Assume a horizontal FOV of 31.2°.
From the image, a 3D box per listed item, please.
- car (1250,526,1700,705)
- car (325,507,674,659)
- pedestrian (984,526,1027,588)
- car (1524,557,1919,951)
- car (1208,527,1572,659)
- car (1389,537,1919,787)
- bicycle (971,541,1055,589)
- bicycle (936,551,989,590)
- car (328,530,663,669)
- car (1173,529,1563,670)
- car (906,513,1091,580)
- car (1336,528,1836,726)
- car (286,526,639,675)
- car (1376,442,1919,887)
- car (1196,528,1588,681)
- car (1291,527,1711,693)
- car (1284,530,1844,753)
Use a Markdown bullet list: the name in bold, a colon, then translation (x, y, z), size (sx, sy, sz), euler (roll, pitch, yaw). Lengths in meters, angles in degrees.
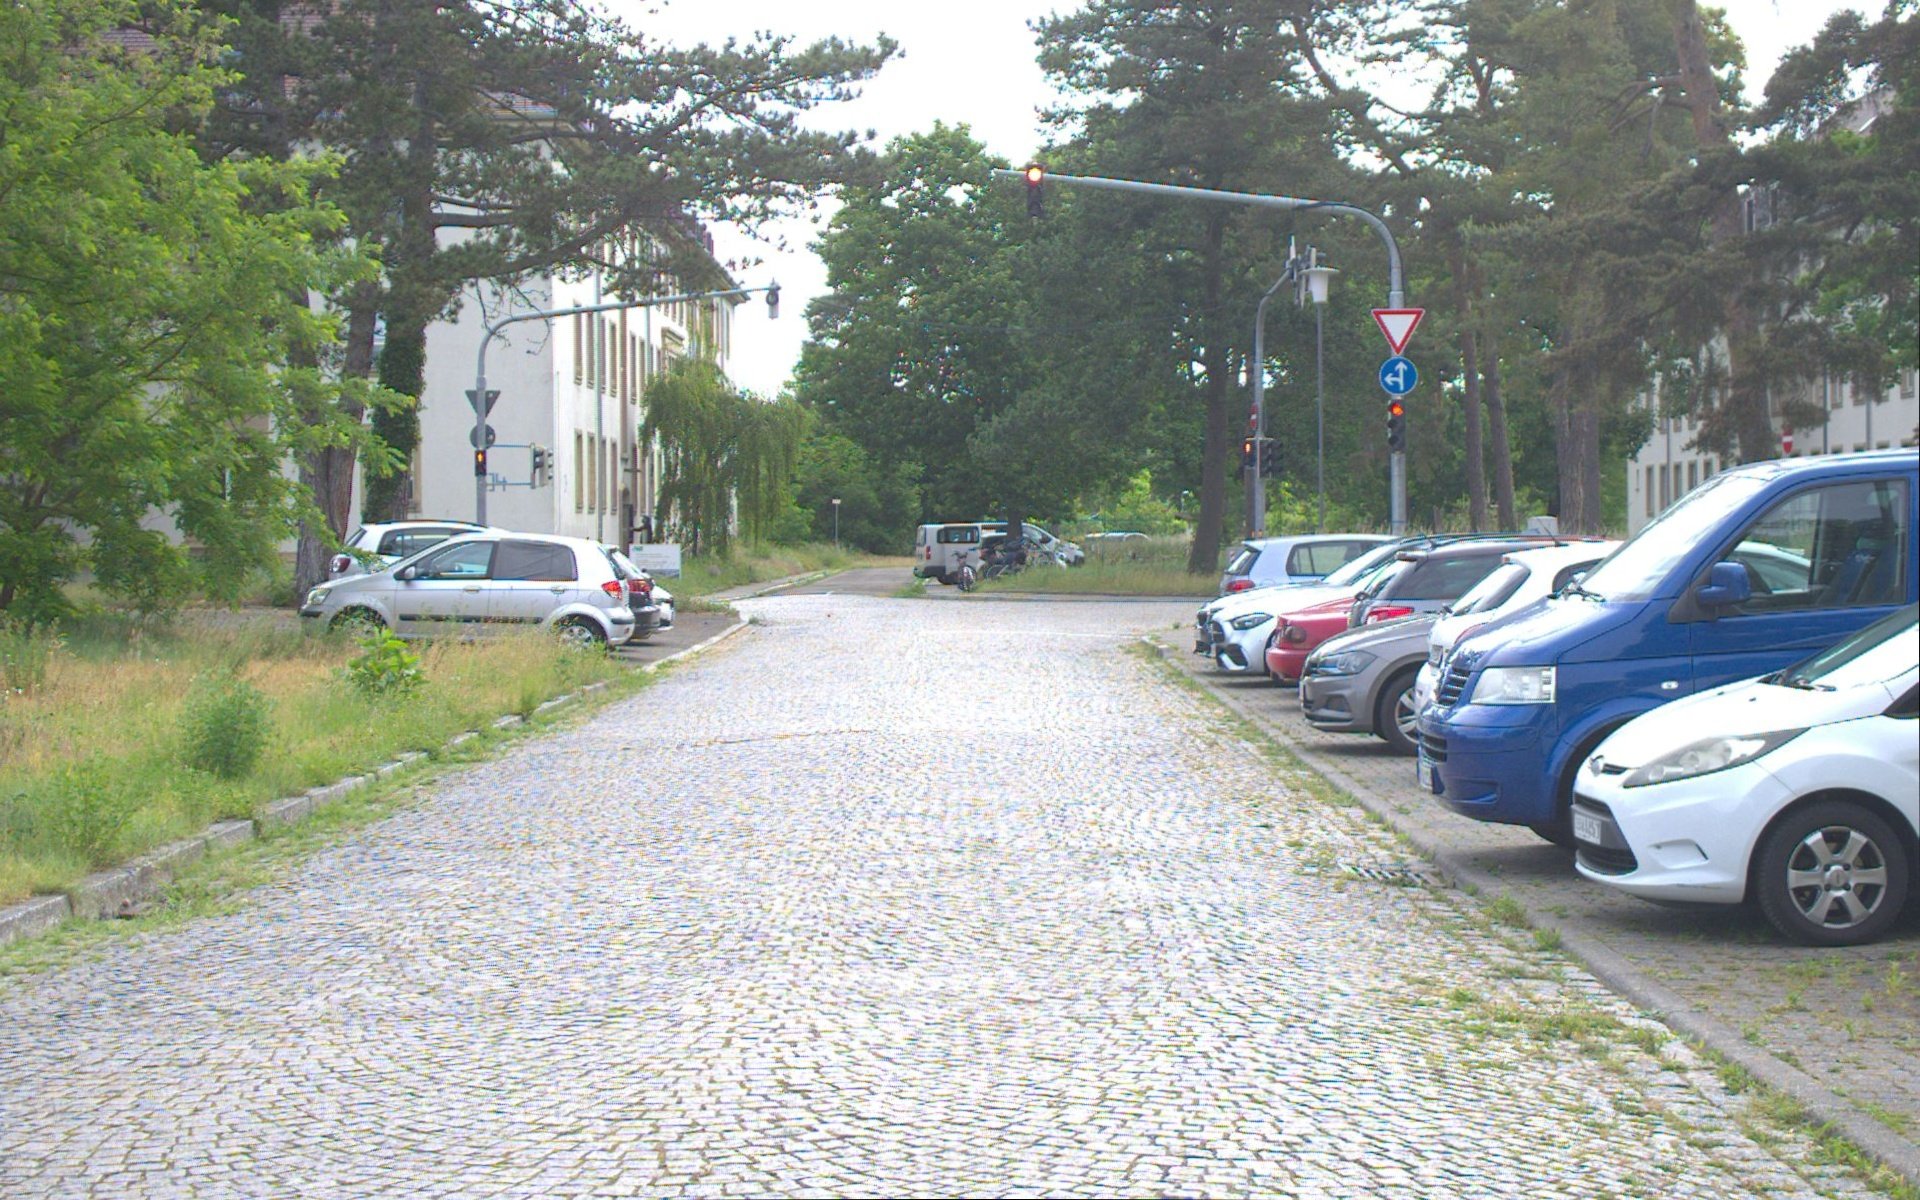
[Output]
- **car**: translation (4.480, 0.121, 30.208), size (3.671, 1.444, 1.524), euler (-1, 1, -1)
- **car**: translation (-5.942, -0.236, 44.691), size (4.262, 1.834, 1.744), euler (-1, 1, 0)
- **pedestrian**: translation (1.174, -1.121, 89.551), size (1.033, 1.608, 0.757), euler (1, 1, -4)
- **car**: translation (4.277, 0.546, 13.868), size (3.671, 1.444, 1.615), euler (-1, 1, -2)
- **car**: translation (4.997, -0.092, 40.245), size (3.967, 1.416, 1.620), euler (-1, 1, -4)
- **car**: translation (4.670, 0.361, 21.734), size (3.671, 1.444, 1.524), euler (-1, 1, -1)
- **bicycle**: translation (1.373, -0.907, 89.210), size (2.136, 1.210, 0.622), euler (1, 1, -4)
- **bicycle**: translation (0.060, -0.743, 85.156), size (0.620, 0.941, 1.663), euler (0, 1, -27)
- **car**: translation (-5.595, -0.016, 41.703), size (3.821, 1.567, 1.564), euler (-1, 1, 0)
- **car**: translation (4.422, -0.019, 37.601), size (3.967, 1.416, 1.620), euler (-1, 1, -4)
- **car**: translation (1.169, -1.680, 107.113), size (5.444, 2.007, 2.269), euler (0, 1, -8)
- **car**: translation (4.955, 0.196, 27.497), size (3.671, 1.444, 1.524), euler (-1, 1, -1)
- **car**: translation (-5.641, -0.006, 39.286), size (3.821, 1.567, 1.564), euler (-1, 1, -3)
- **car**: translation (4.524, 0.242, 16.454), size (4.754, 1.948, 1.931), euler (-1, 1, -1)
- **car**: translation (4.333, 0.034, 34.746), size (3.671, 1.416, 1.524), euler (-1, 1, -4)
- **car**: translation (5.072, 0.079, 32.486), size (3.671, 1.444, 1.524), euler (-1, 1, -1)
- **car**: translation (4.250, 0.273, 24.517), size (3.671, 1.444, 1.524), euler (-1, 1, -1)
